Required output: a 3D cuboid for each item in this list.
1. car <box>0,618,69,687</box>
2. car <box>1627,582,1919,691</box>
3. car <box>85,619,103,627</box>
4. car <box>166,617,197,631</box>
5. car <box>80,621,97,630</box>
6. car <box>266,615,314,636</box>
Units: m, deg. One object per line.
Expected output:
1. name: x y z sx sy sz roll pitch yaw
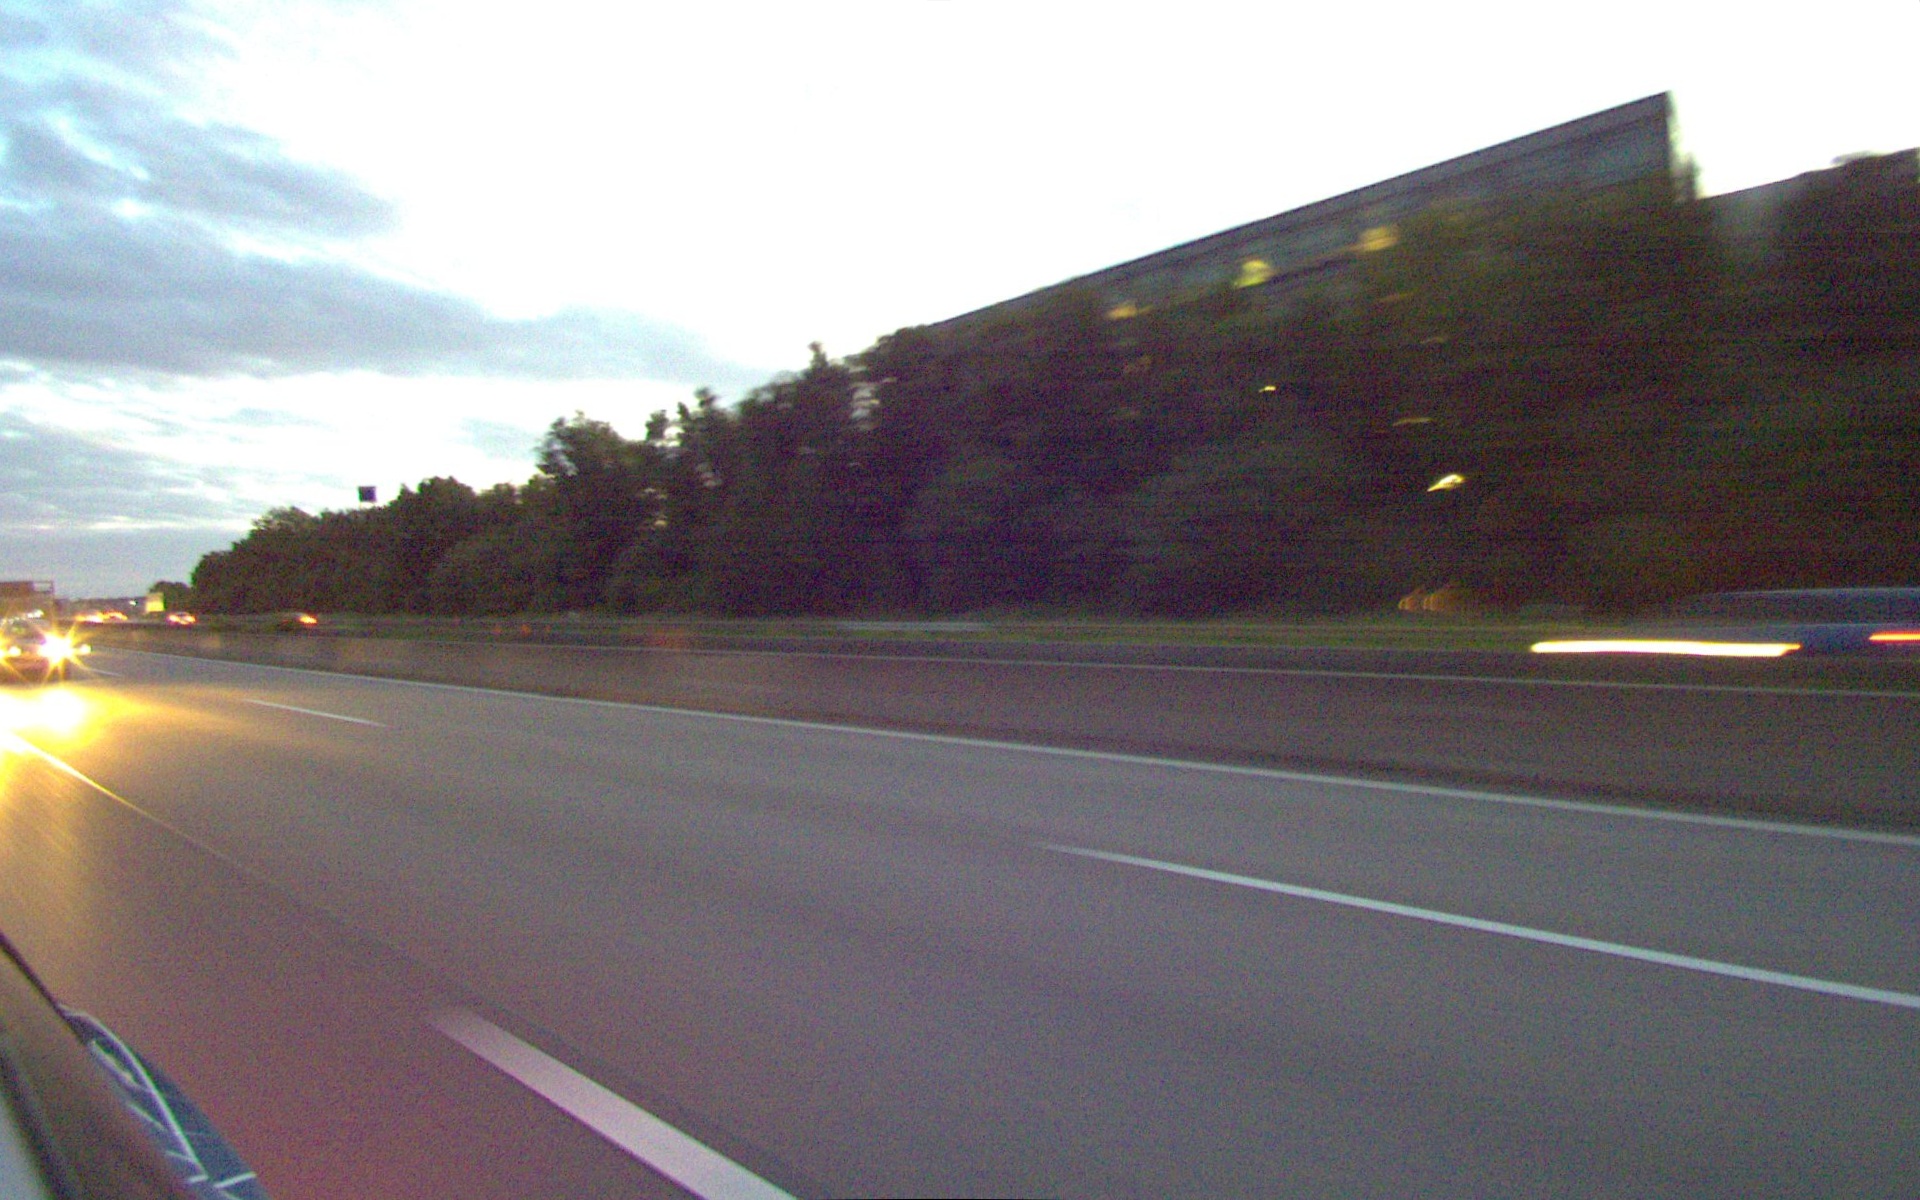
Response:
1. car: -22.733 1.215 24.247 4.000 1.491 1.694 -1 0 43
2. car: 12.123 0.461 13.780 4.895 1.364 1.672 -1 0 41
3. car: -151.945 4.039 177.540 3.836 1.464 1.971 -1 0 44
4. car: -86.376 2.654 112.280 4.506 1.517 1.972 -1 0 43
5. car: -136.394 3.964 158.324 1.813 1.346 4.914 -1 0 -43
6. car: -52.007 1.958 78.555 5.006 1.545 1.972 -1 0 43
